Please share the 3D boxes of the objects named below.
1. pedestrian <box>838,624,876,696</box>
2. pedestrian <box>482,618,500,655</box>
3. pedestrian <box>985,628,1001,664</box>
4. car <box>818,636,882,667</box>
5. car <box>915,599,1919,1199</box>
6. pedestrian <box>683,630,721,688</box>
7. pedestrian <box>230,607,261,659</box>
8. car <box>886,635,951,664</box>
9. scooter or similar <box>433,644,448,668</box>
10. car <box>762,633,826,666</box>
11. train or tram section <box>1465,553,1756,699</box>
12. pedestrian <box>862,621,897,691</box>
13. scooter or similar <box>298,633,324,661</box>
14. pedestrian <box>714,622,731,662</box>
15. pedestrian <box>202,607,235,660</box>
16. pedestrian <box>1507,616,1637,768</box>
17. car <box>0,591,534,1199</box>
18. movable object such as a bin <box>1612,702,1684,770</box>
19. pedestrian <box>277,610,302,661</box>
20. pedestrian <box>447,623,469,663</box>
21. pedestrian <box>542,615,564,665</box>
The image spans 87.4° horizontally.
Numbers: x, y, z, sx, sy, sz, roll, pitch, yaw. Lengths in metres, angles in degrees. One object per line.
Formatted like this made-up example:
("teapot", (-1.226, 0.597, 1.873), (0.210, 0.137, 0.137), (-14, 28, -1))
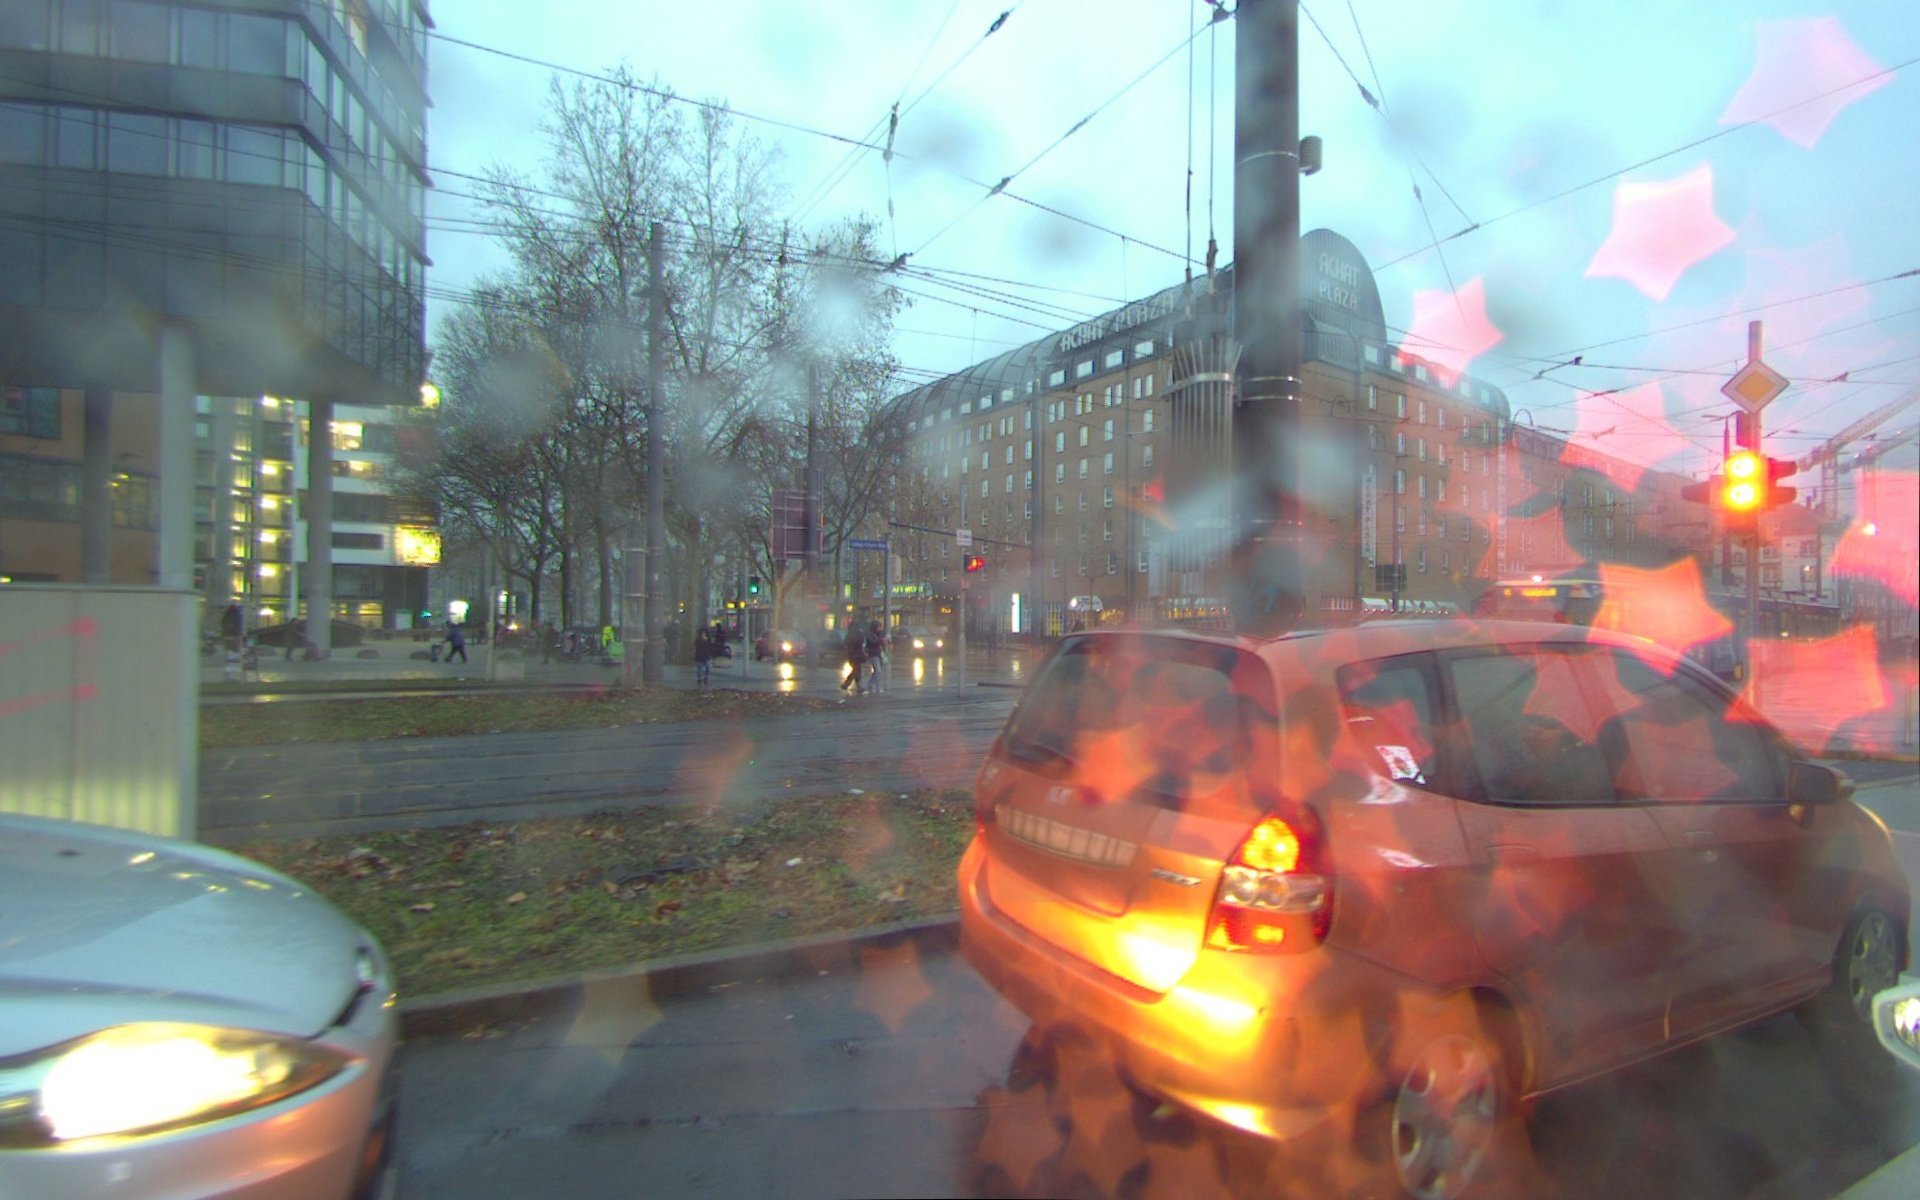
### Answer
("pedestrian", (-2.259, 1.304, 21.999), (0.639, 1.532, 0.558), (1, -1, -33))
("pedestrian", (-22.609, 1.766, 48.443), (0.724, 1.783, 0.816), (1, -2, -22))
("pedestrian", (1.668, 2.326, 50.759), (0.622, 1.781, 0.566), (-1, -2, 33))
("car", (-5.592, 2.577, 50.730), (1.974, 1.446, 3.974), (1, -1, -26))
("car", (1.866, 0.797, 3.683), (3.713, 1.478, 1.690), (1, -2, -30))
("pedestrian", (-6.916, 1.562, 26.888), (0.667, 1.519, 0.734), (-1, -2, 42))
("pedestrian", (-26.354, 1.210, 37.048), (0.561, 1.888, 0.736), (0, -2, 5))
("car", (-2.220, 2.589, 52.996), (1.974, 1.446, 3.974), (1, -1, -26))
("scooter or similar", (-19.574, 2.110, 37.847), (0.426, 0.861, 0.550), (1, -2, -24))
("car", (-7.988, 2.349, 48.083), (1.974, 1.446, 3.974), (1, -1, -26))
("train or tram section", (22.146, 0.939, 32.980), (19.918, 3.662, 2.839), (2, -2, -42))
("pedestrian", (-1.810, 1.248, 22.515), (0.608, 1.532, 0.517), (1, -1, -33))
("scooter or similar", (-23.064, 1.655, 35.703), (0.657, 0.973, 0.550), (1, -2, -24))
("pedestrian", (-10.481, 1.856, 44.340), (0.679, 1.728, 0.526), (1, -2, -6))
("pedestrian", (-26.493, 1.204, 35.912), (0.561, 1.888, 0.736), (0, -2, 6))
("pedestrian", (6.819, 1.010, 11.241), (1.016, 1.621, 0.716), (-1, -3, 12))
("car", (-2.871, 0.696, 1.460), (3.953, 1.467, 1.697), (2, 0, -30))
("movable object such as a bin", (7.601, 1.492, 11.109), (0.527, 0.708, 0.413), (0, -3, 11))
("pedestrian", (-23.657, 1.246, 35.448), (0.628, 1.797, 0.569), (1, -2, -24))
("pedestrian", (-19.041, 1.634, 38.097), (0.675, 1.478, 0.569), (1, -2, -24))
("pedestrian", (-15.590, 1.537, 38.468), (0.725, 1.888, 0.569), (1, -2, -24))
